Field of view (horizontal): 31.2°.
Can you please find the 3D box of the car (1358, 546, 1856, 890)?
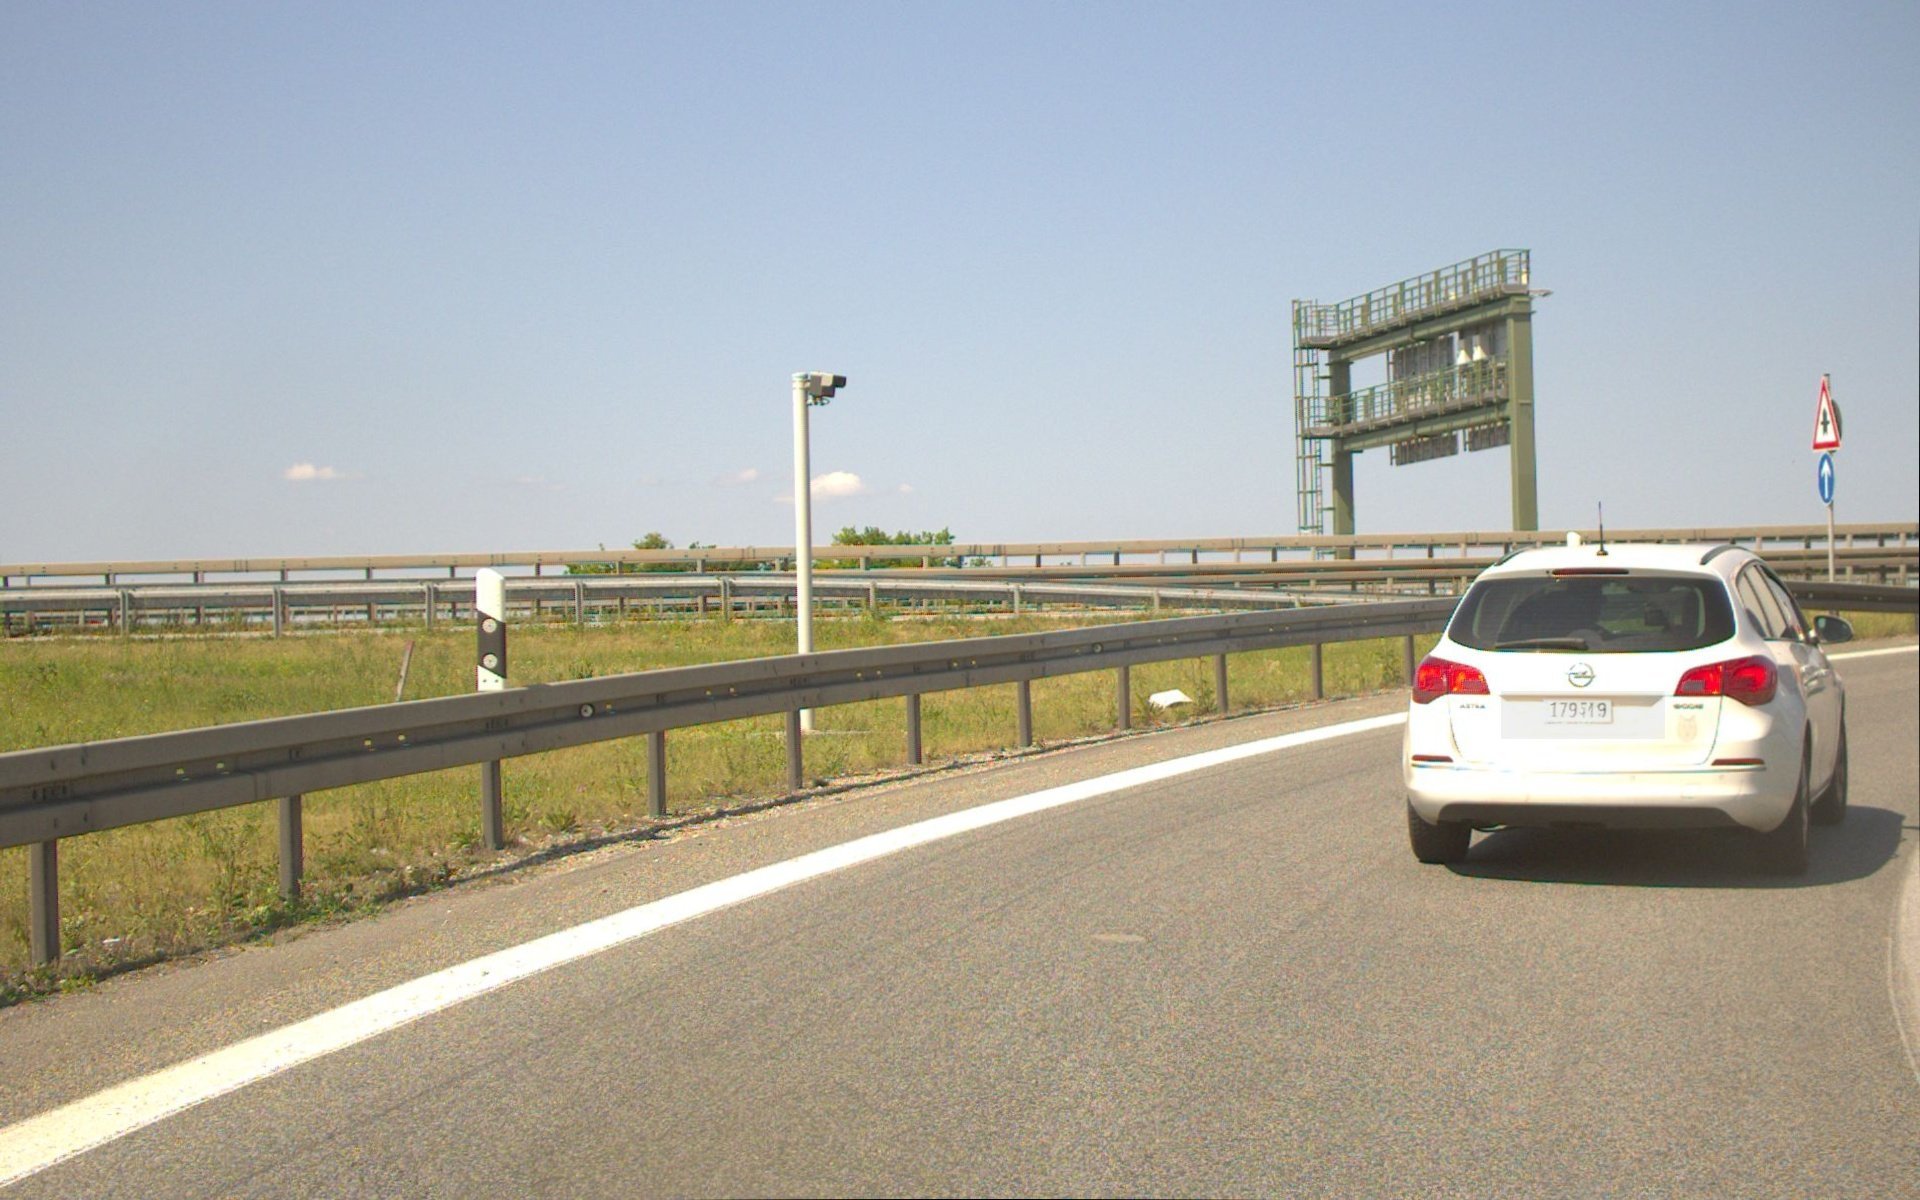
[{"bbox_3d":[3.274,0.468,16.707,1.856,1.438,4.368,0,1,18],"label":"car"}]
